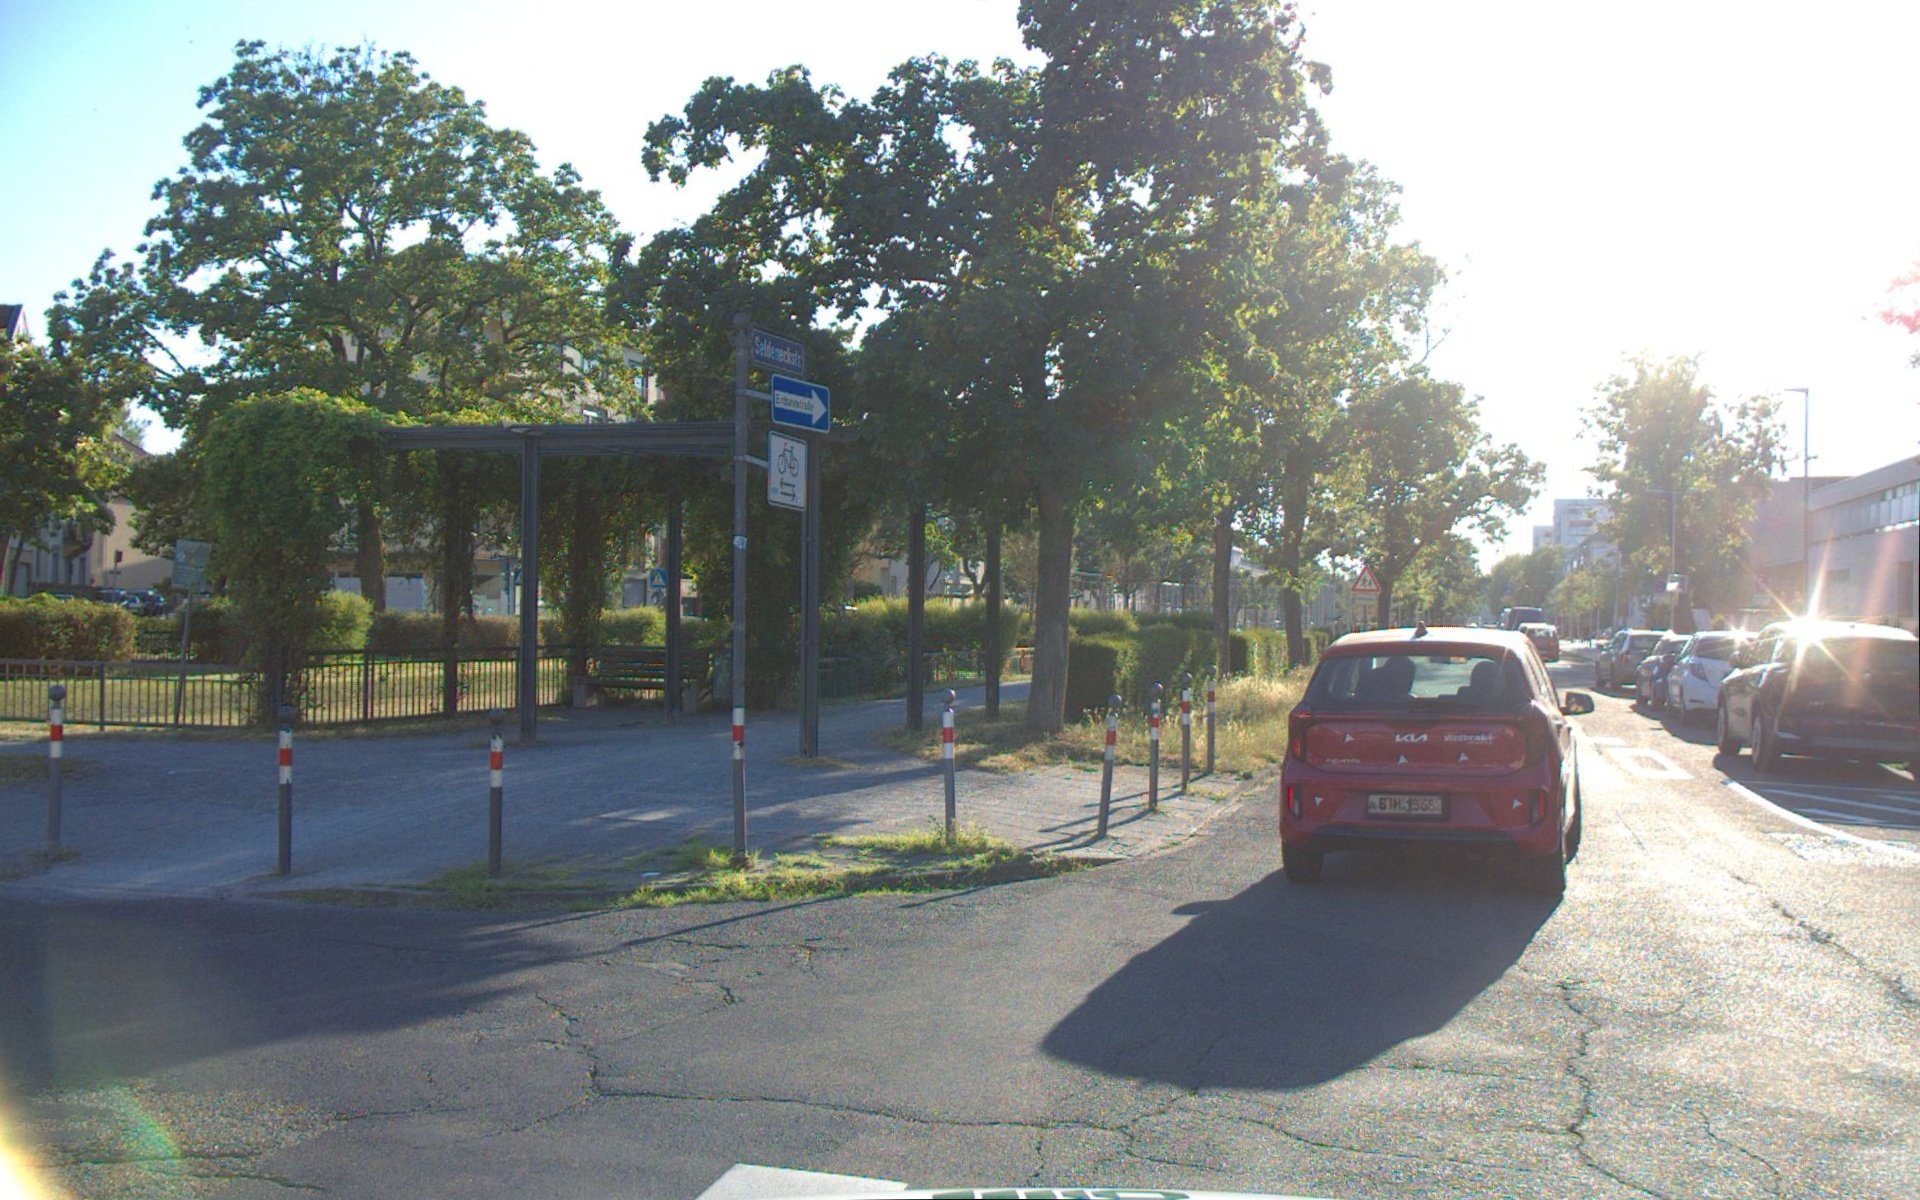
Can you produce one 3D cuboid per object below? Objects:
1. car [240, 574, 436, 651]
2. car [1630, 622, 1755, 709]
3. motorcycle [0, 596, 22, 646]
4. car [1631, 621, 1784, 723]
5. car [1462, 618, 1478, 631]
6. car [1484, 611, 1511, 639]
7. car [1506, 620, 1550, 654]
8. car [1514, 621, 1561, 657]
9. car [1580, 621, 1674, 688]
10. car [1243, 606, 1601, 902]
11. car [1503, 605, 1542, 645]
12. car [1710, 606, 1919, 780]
[{"bbox_3d":[-23.255,0.482,62.133,6.550,2.793,2.311,1,-1,-12],"label":"car"},{"bbox_3d":[14.018,1.201,31.827,1.693,1.545,3.762,0,-1,16],"label":"car"},{"bbox_3d":[-30.013,0.645,49.814,3.152,1.513,0.854,0,-1,5],"label":"motorcycle"},{"bbox_3d":[12.244,1.127,27.292,1.727,1.553,3.775,-1,-1,16],"label":"car"},{"bbox_3d":[66.671,3.236,216.253,1.826,1.646,4.002,0,-1,16],"label":"car"},{"bbox_3d":[41.469,1.930,127.721,1.952,2.161,4.002,0,-1,18],"label":"car"},{"bbox_3d":[26.943,1.731,78.508,1.693,1.545,3.762,0,-1,15],"label":"car"},{"bbox_3d":[25.893,1.708,74.256,1.719,1.545,3.762,0,-1,15],"label":"car"},{"bbox_3d":[16.387,1.311,40.782,1.727,1.553,3.775,-1,-1,15],"label":"car"},{"bbox_3d":[3.151,0.839,10.752,1.729,1.553,3.771,-1,-1,24],"label":"car"},{"bbox_3d":[31.046,1.371,91.318,1.952,2.161,4.002,0,-1,18],"label":"car"},{"bbox_3d":[9.790,0.977,18.794,1.779,1.670,4.218,3,0,18],"label":"car"}]
